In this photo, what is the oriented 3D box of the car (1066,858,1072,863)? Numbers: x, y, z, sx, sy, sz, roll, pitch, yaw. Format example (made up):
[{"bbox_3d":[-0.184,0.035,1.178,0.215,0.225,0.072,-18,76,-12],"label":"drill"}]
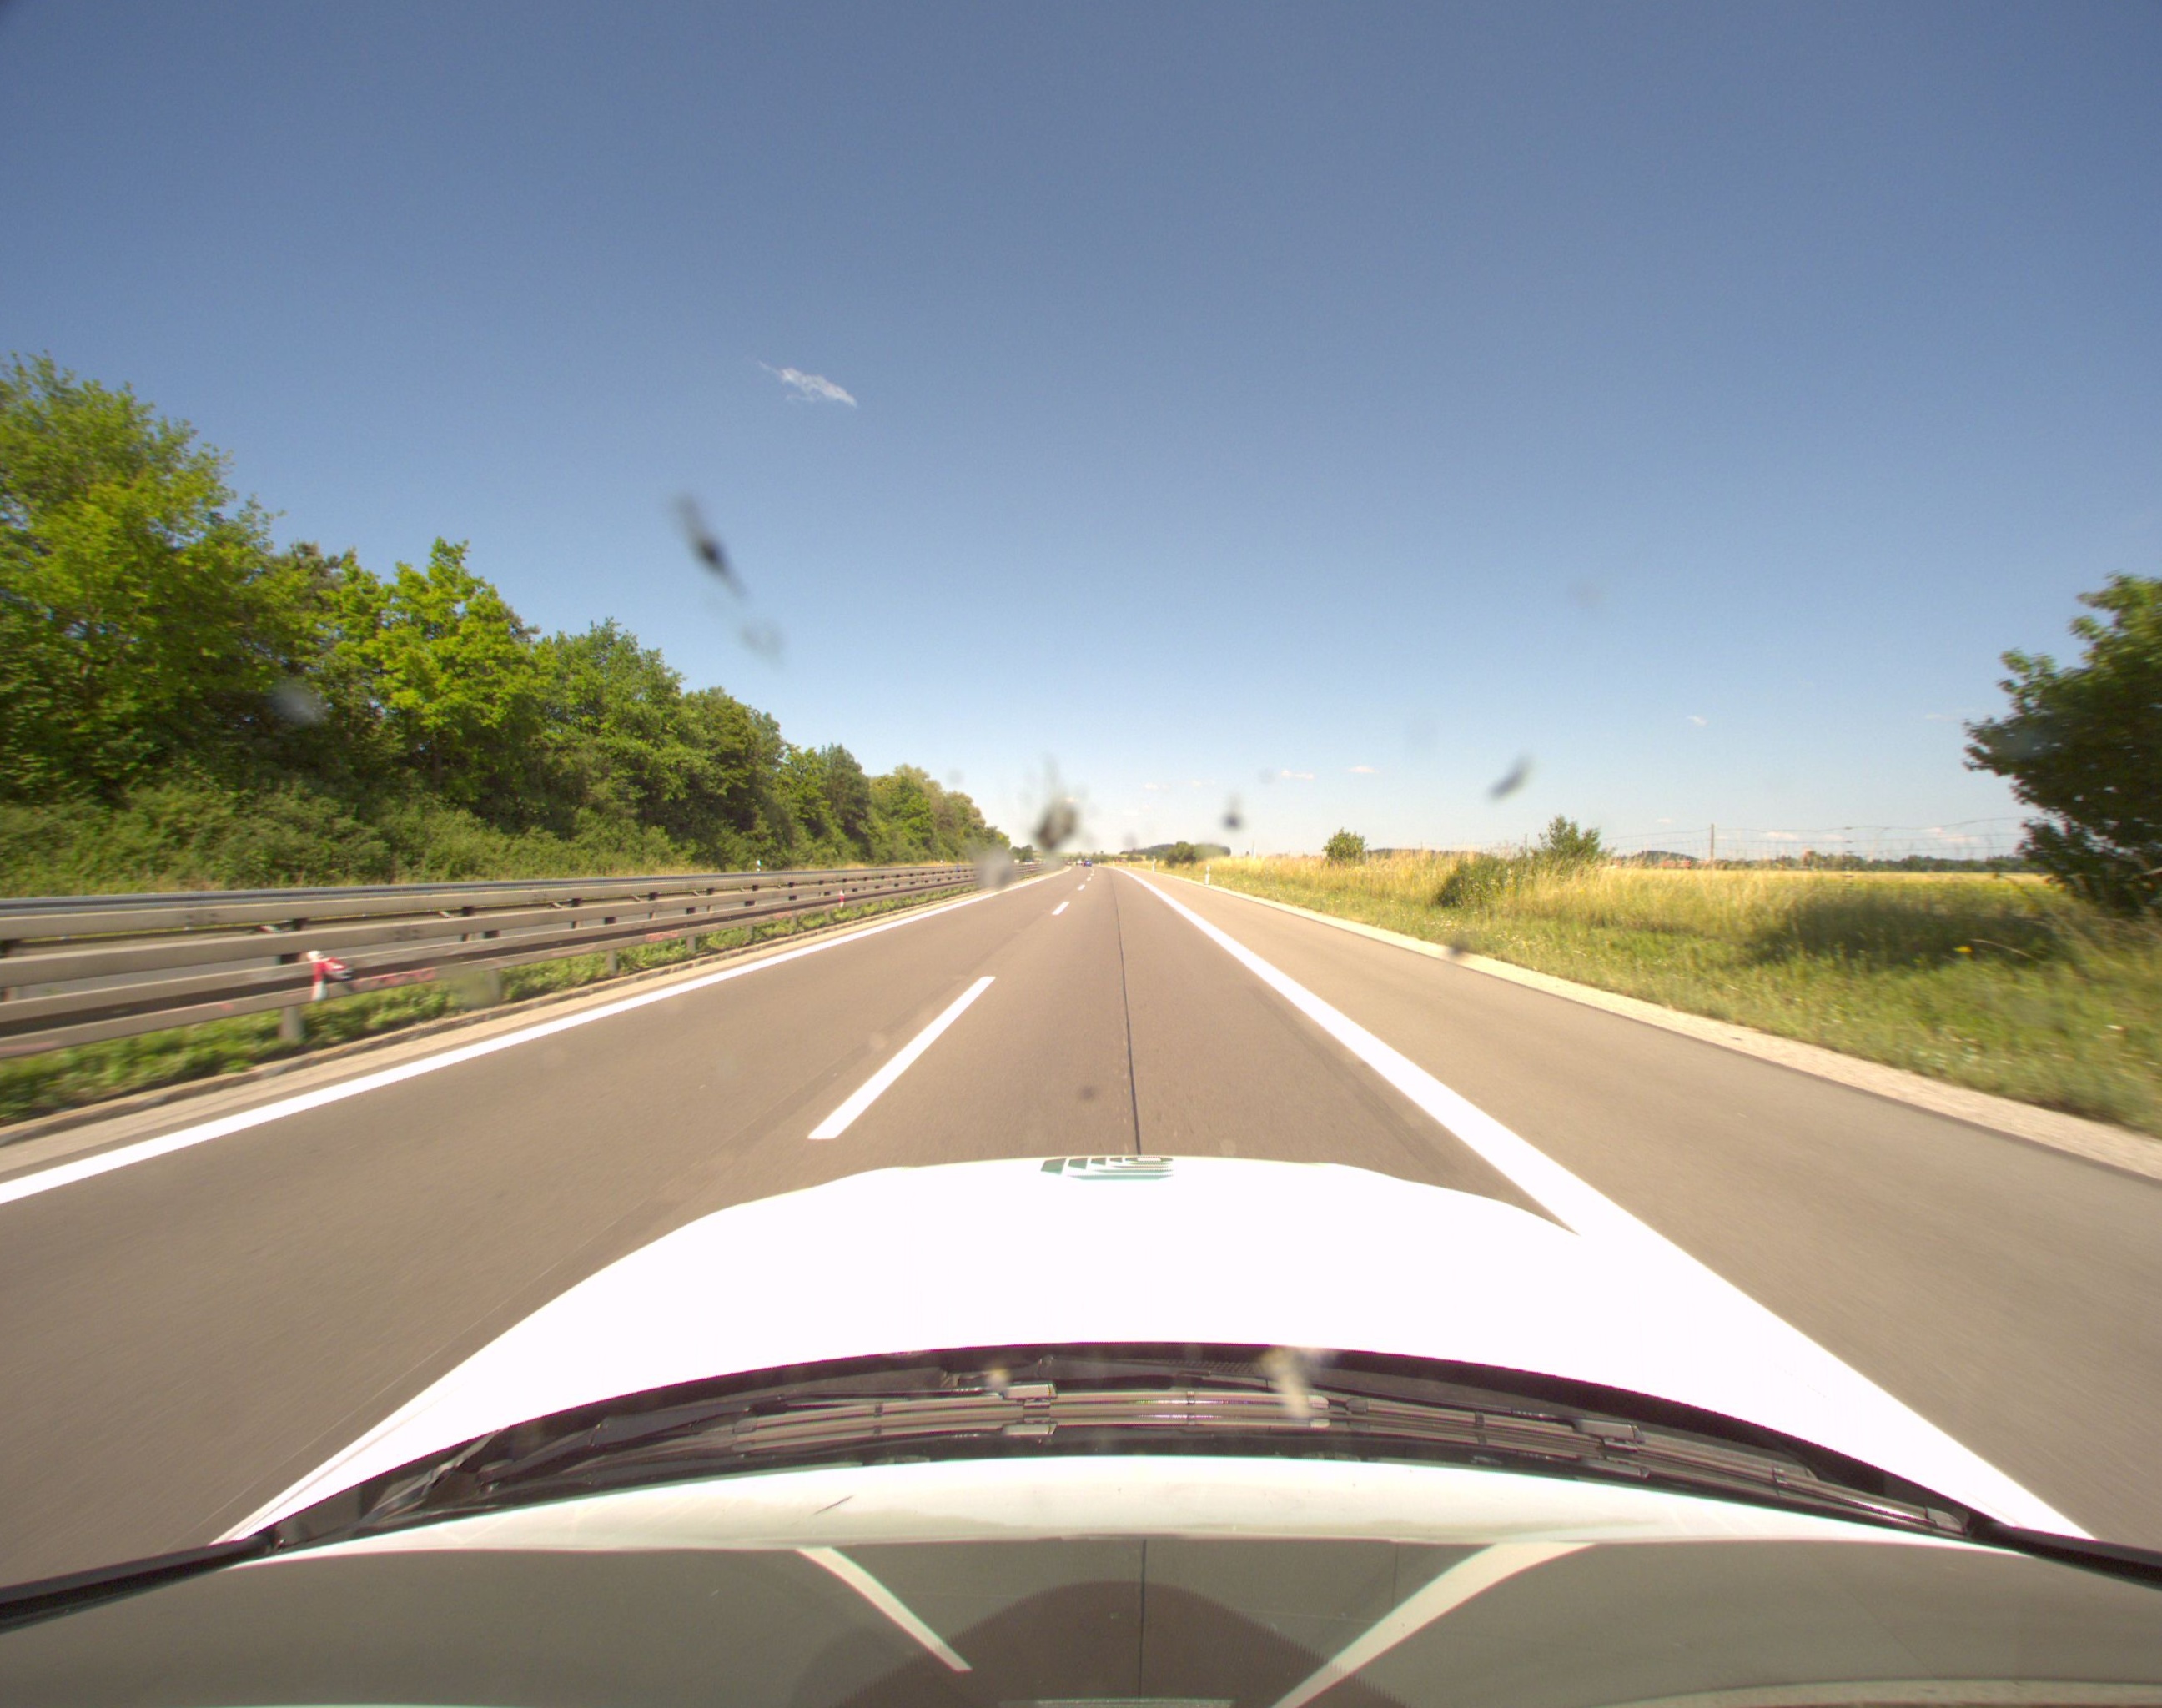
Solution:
[{"bbox_3d":[-3.725,2.009,253.646,1.821,1.453,3.595,-1,-1,3],"label":"car"}]

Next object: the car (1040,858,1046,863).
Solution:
[{"bbox_3d":[-11.591,2.005,248.365,1.644,1.493,4.538,-1,0,0],"label":"car"}]

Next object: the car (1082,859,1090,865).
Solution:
[{"bbox_3d":[1.145,1.805,181.705,1.669,1.453,3.593,-1,-1,2],"label":"car"}]

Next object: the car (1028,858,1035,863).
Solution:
[{"bbox_3d":[-13.989,1.900,231.190,1.644,1.493,4.538,-1,0,0],"label":"car"}]

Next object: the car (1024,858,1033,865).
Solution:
[{"bbox_3d":[-12.704,1.879,197.301,1.986,1.612,4.637,-1,0,1],"label":"car"}]
